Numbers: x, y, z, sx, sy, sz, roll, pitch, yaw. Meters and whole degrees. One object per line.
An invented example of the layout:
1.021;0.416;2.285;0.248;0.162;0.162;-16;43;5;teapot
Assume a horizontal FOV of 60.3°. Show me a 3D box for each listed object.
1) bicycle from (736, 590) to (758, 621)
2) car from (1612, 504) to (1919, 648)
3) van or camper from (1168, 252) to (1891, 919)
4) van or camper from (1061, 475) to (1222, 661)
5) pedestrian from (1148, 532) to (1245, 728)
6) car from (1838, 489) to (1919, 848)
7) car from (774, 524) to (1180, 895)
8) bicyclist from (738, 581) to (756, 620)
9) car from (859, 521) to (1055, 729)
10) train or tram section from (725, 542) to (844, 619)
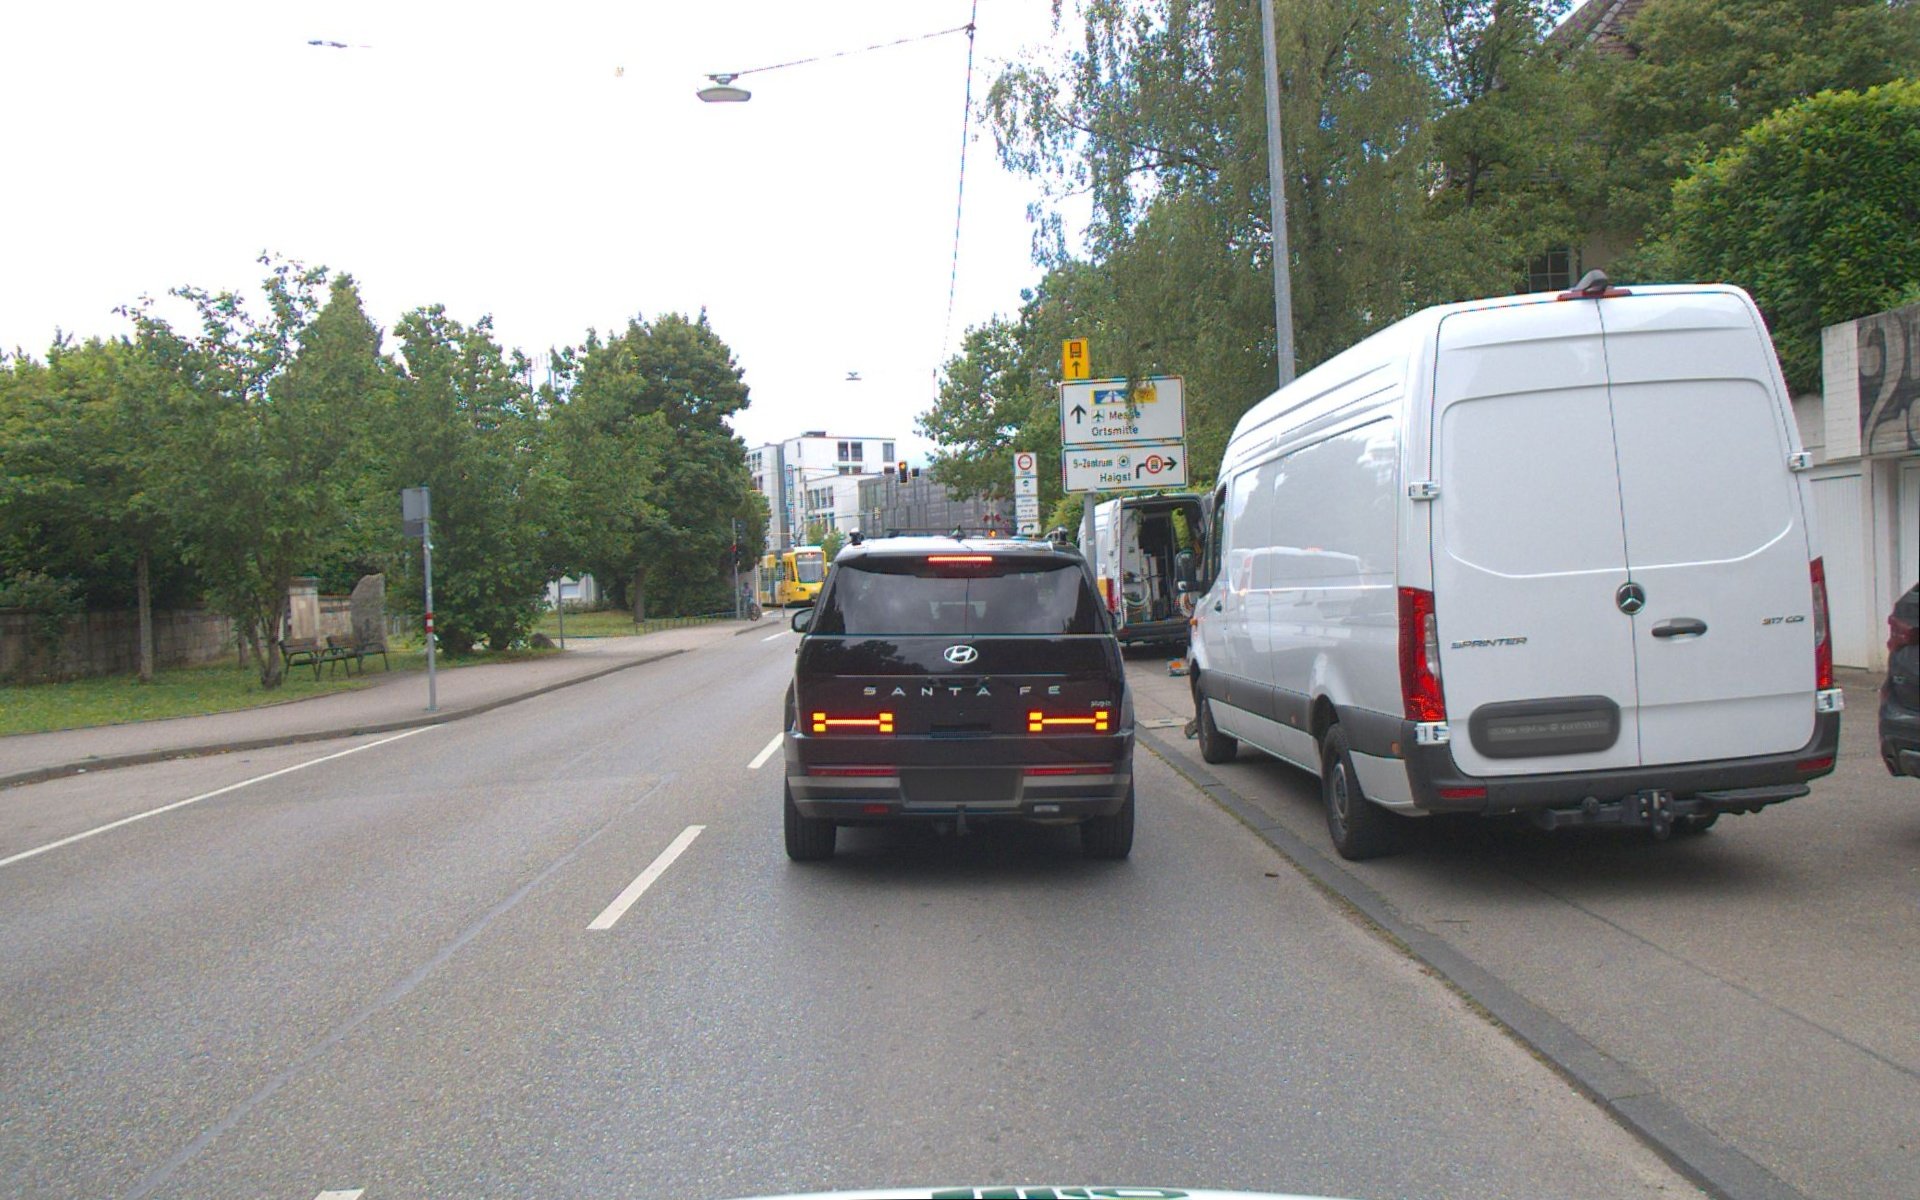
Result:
-9.221;0.245;71.529;0.664;1.302;2.491;0;-1;-14;bicycle
10.808;-0.319;21.455;3.907;1.741;1.969;-1;0;-3;car
2.814;-0.102;10.151;1.924;2.673;6.357;-4;1;-2;van or camper
3.057;-0.541;28.982;1.924;2.845;5.285;-4;1;-2;van or camper
2.237;0.282;15.691;0.607;1.773;0.603;-5;0;-13;pedestrian
6.631;0.230;7.480;4.304;1.681;1.830;-3;1;0;car
0.029;0.498;9.903;1.924;1.741;3.999;-1;1;-2;car
-9.224;0.020;71.563;0.664;1.688;0.855;0;-1;-15;bicyclist
-0.084;0.223;18.383;1.924;2.036;3.999;-1;1;-2;car
-12.140;-1.110;111.813;3.148;4.602;18.560;0;-1;-21;train or tram section
